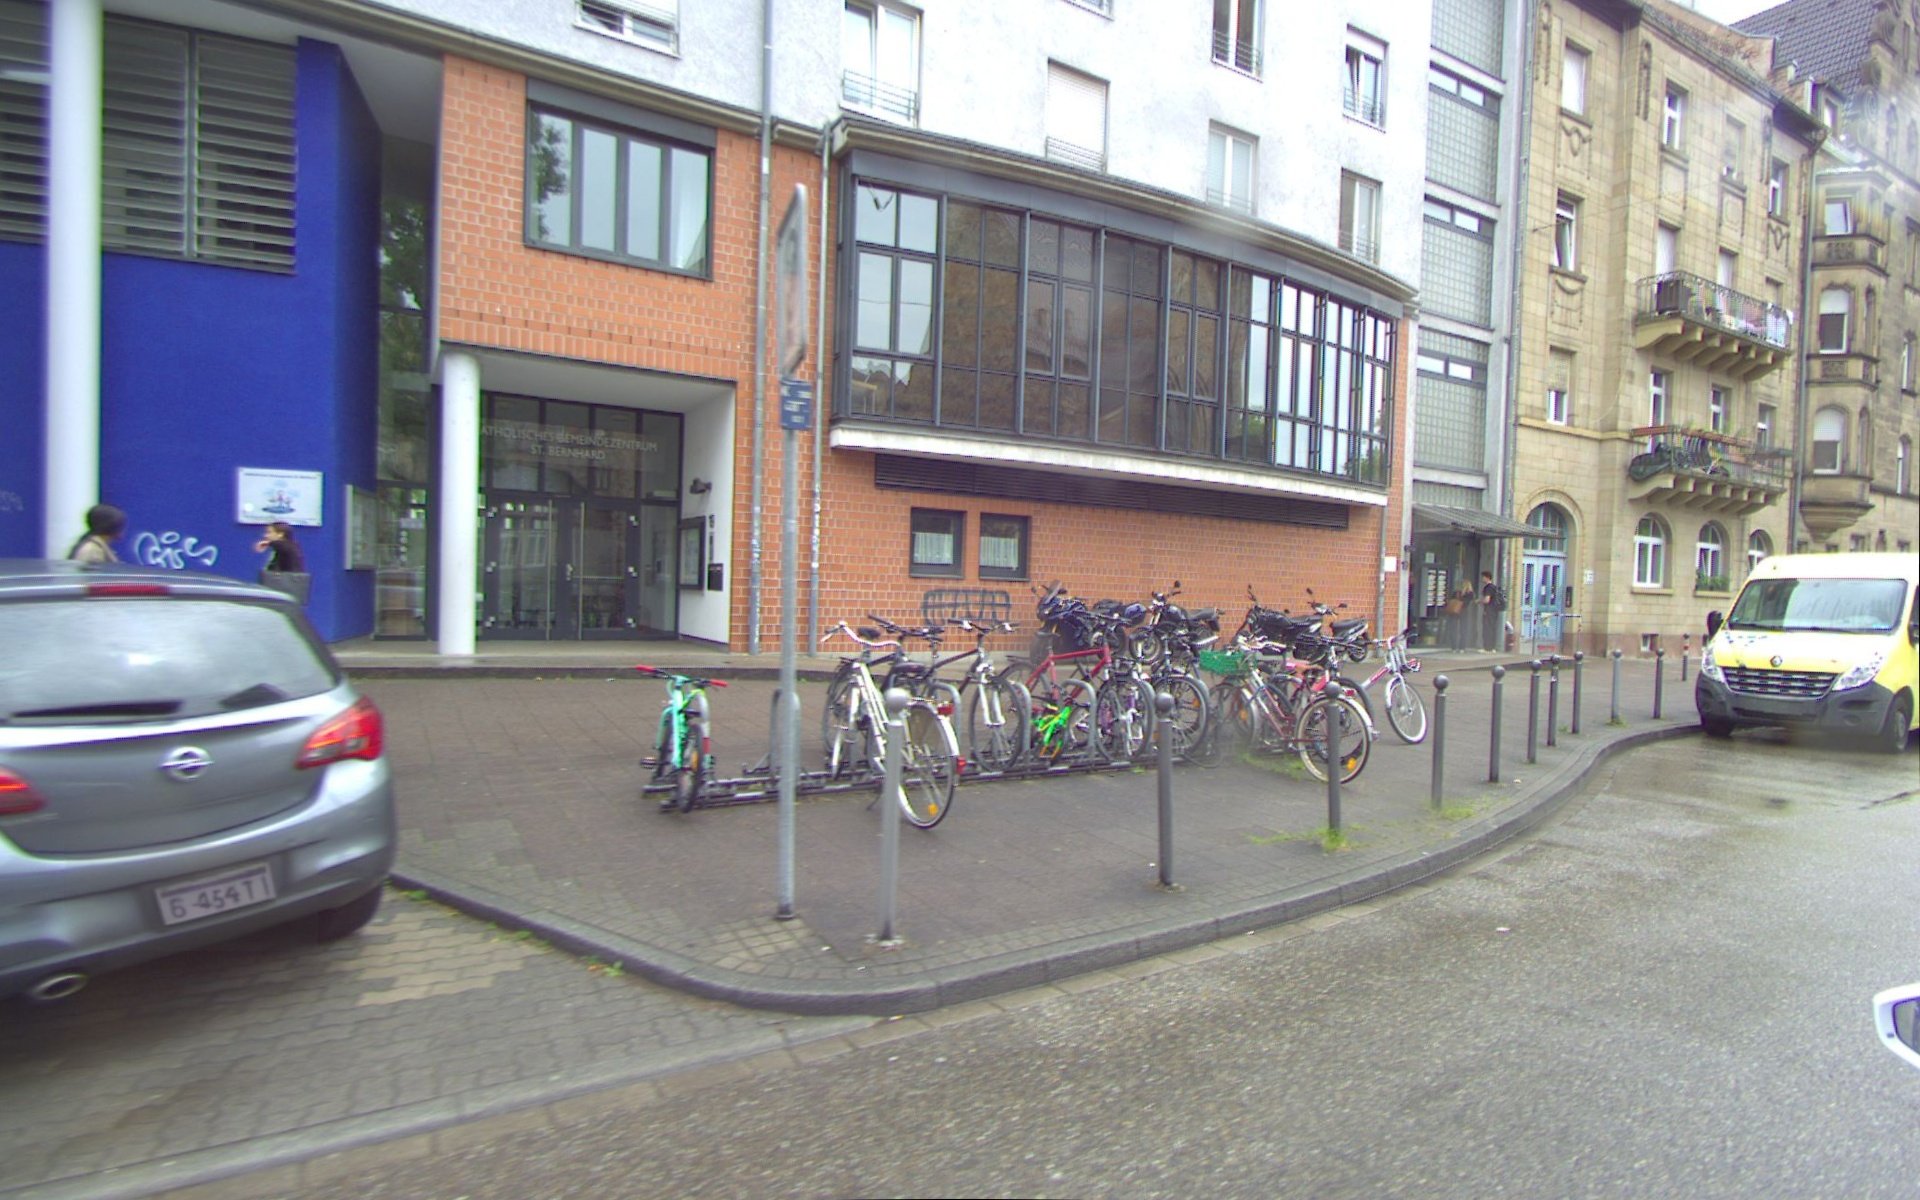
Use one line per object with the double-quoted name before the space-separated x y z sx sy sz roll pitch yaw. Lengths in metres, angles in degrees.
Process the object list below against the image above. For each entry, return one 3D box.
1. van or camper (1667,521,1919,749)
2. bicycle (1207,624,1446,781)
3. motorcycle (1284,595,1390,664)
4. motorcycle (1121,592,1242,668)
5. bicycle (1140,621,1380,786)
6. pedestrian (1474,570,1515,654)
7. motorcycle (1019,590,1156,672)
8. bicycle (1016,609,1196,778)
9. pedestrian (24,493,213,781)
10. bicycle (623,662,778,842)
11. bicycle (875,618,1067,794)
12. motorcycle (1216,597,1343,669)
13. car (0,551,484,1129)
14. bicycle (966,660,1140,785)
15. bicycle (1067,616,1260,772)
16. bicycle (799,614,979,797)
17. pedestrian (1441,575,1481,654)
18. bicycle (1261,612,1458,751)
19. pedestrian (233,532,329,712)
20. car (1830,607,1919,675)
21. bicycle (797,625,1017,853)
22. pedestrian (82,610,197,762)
"van or camper" 12.672 0.614 13.979 6.798 2.563 2.111 4 -4 -31
"bicycle" 3.197 0.842 9.016 0.587 1.112 2.106 1 2 -29
"motorcycle" 7.154 0.551 19.084 1.748 1.190 0.572 3 3 -8
"motorcycle" 3.796 0.499 17.155 2.094 1.190 0.748 1 3 -35
"bicycle" 2.481 0.805 8.625 0.587 1.112 2.122 1 2 -29
"pedestrian" 11.591 0.249 21.780 0.652 1.780 0.794 1 0 36
"motorcycle" 2.037 0.482 15.947 2.091 1.190 0.749 1 3 -31
"bicycle" 1.172 0.717 8.491 0.560 1.183 1.796 1 2 -26
"pedestrian" -5.547 0.217 6.686 0.746 1.776 0.823 1 3 -24
"bicycle" -1.650 0.861 6.202 0.500 0.780 1.714 1 2 -29
"bicycle" 0.033 0.745 7.749 0.502 1.112 1.709 1 2 -38
"motorcycle" 5.724 0.591 18.009 2.083 1.190 0.752 2 3 -19
"car" -3.961 0.568 3.922 3.762 1.527 1.985 3 1 29
"bicycle" 0.698 0.938 8.137 0.500 0.741 1.714 1 2 -30
"bicycle" 1.710 0.750 8.786 0.500 1.112 1.905 1 2 -29
"bicycle" -0.578 0.707 7.458 0.501 1.112 1.710 1 2 -35
"pedestrian" 11.058 0.315 22.177 0.652 1.697 0.794 1 0 36
"bicycle" 4.123 0.799 10.434 1.778 1.229 0.631 4 1 24
"pedestrian" -6.192 0.177 9.193 0.599 1.572 0.707 1 3 -24
"car" 24.311 1.073 24.970 3.595 1.579 1.798 3 1 24
"bicycle" -0.390 0.769 6.227 0.501 1.112 1.710 1 2 -35
"pedestrian" -5.950 0.607 7.307 0.534 1.031 0.469 1 3 -24
